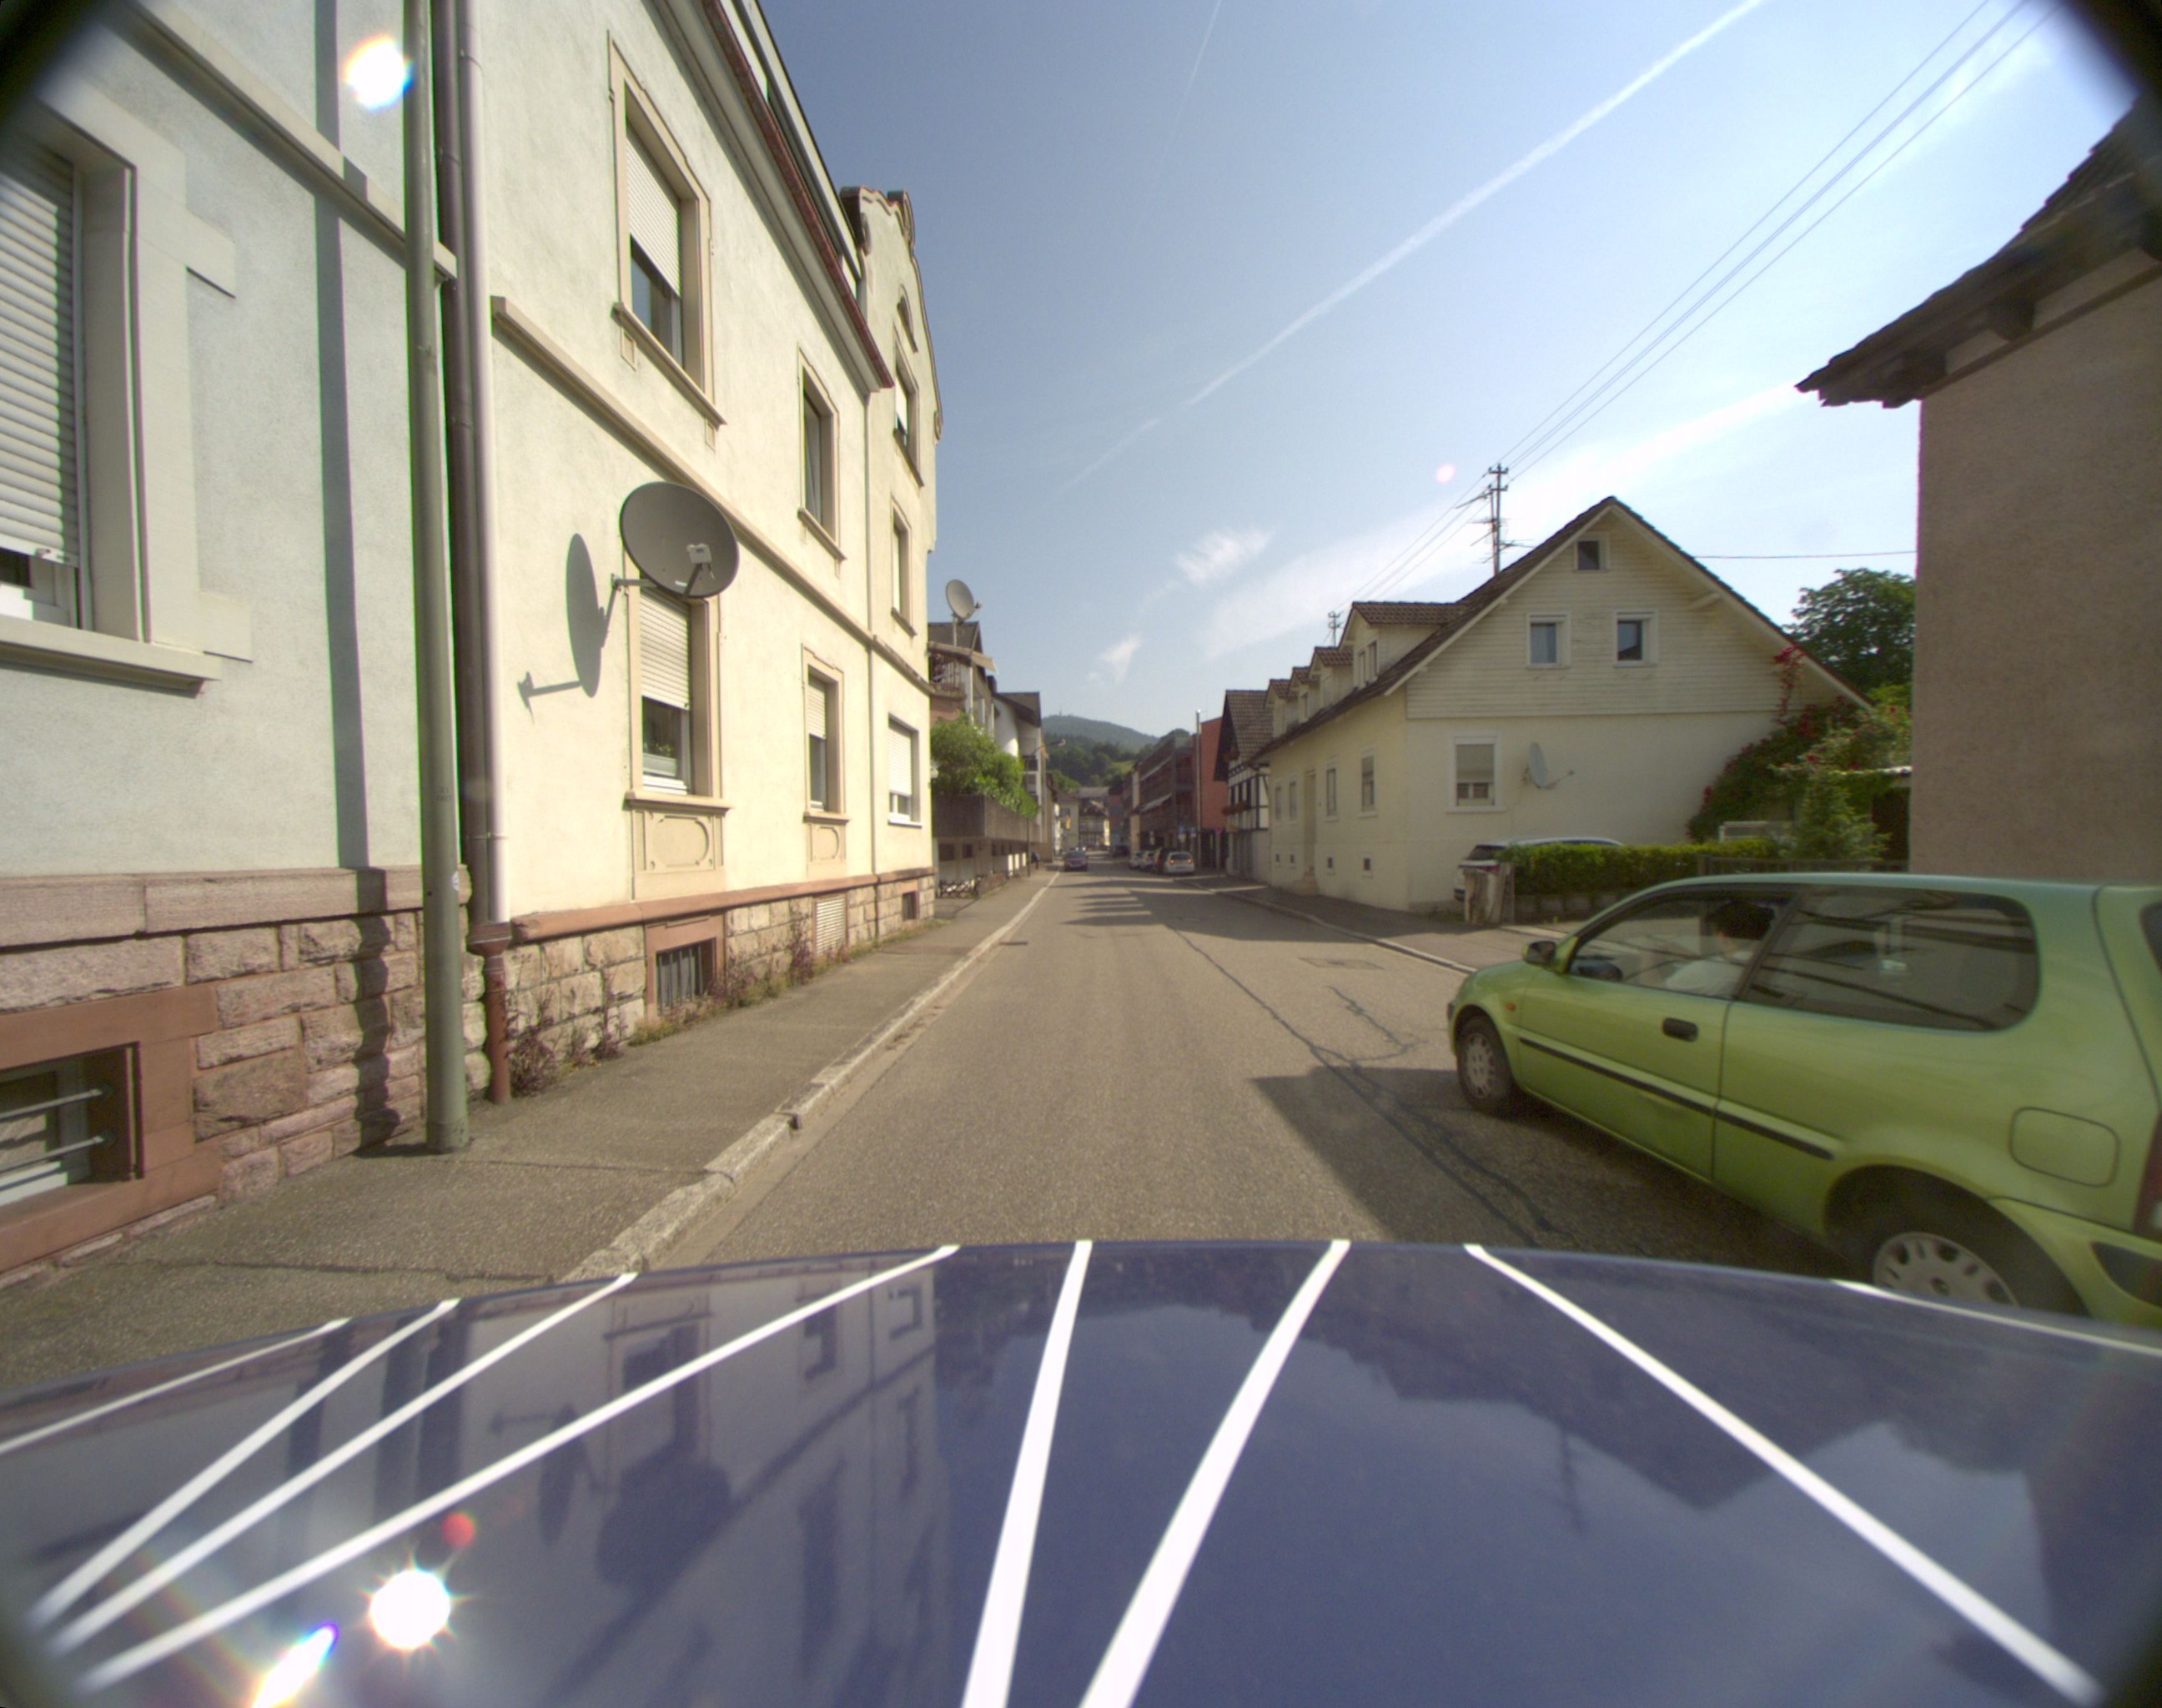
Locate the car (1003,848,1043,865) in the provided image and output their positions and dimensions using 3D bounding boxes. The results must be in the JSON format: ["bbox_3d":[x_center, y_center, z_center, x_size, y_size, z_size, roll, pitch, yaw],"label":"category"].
[{"bbox_3d":[-5.716,0.209,74.847,3.837,1.470,1.700,-2,0,-3],"label":"car"}]

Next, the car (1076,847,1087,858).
[{"bbox_3d":[0.140,-0.314,146.380,1.999,2.002,3.999,-2,1,0],"label":"car"}]

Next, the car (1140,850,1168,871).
[{"bbox_3d":[5.570,0.474,58.439,1.679,1.580,3.948,-1,0,-2],"label":"car"}]

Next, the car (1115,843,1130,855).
[{"bbox_3d":[5.831,-0.656,106.666,1.787,1.566,3.887,-4,1,-1],"label":"car"}]

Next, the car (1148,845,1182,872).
[{"bbox_3d":[5.795,0.293,52.747,1.725,1.786,4.267,-1,1,-3],"label":"car"}]

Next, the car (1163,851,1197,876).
[{"bbox_3d":[6.150,0.563,47.437,1.670,1.423,3.568,-2,0,0],"label":"car"}]

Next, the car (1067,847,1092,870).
[{"bbox_3d":[-0.161,0.316,58.807,1.822,1.652,3.999,-1,1,-2],"label":"car"}]

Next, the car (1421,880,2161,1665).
[{"bbox_3d":[3.043,0.950,3.115,1.600,1.456,3.659,3,1,0],"label":"car"}]

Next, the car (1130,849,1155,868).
[{"bbox_3d":[5.251,0.342,65.207,1.678,1.546,3.763,-2,0,-2],"label":"car"}]

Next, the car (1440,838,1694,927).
[{"bbox_3d":[9.795,0.538,15.533,3.998,1.584,1.907,-2,1,-2],"label":"car"}]

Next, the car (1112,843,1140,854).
[{"bbox_3d":[6.801,-0.831,115.200,4.000,1.674,1.833,-1,-1,-9],"label":"car"}]
